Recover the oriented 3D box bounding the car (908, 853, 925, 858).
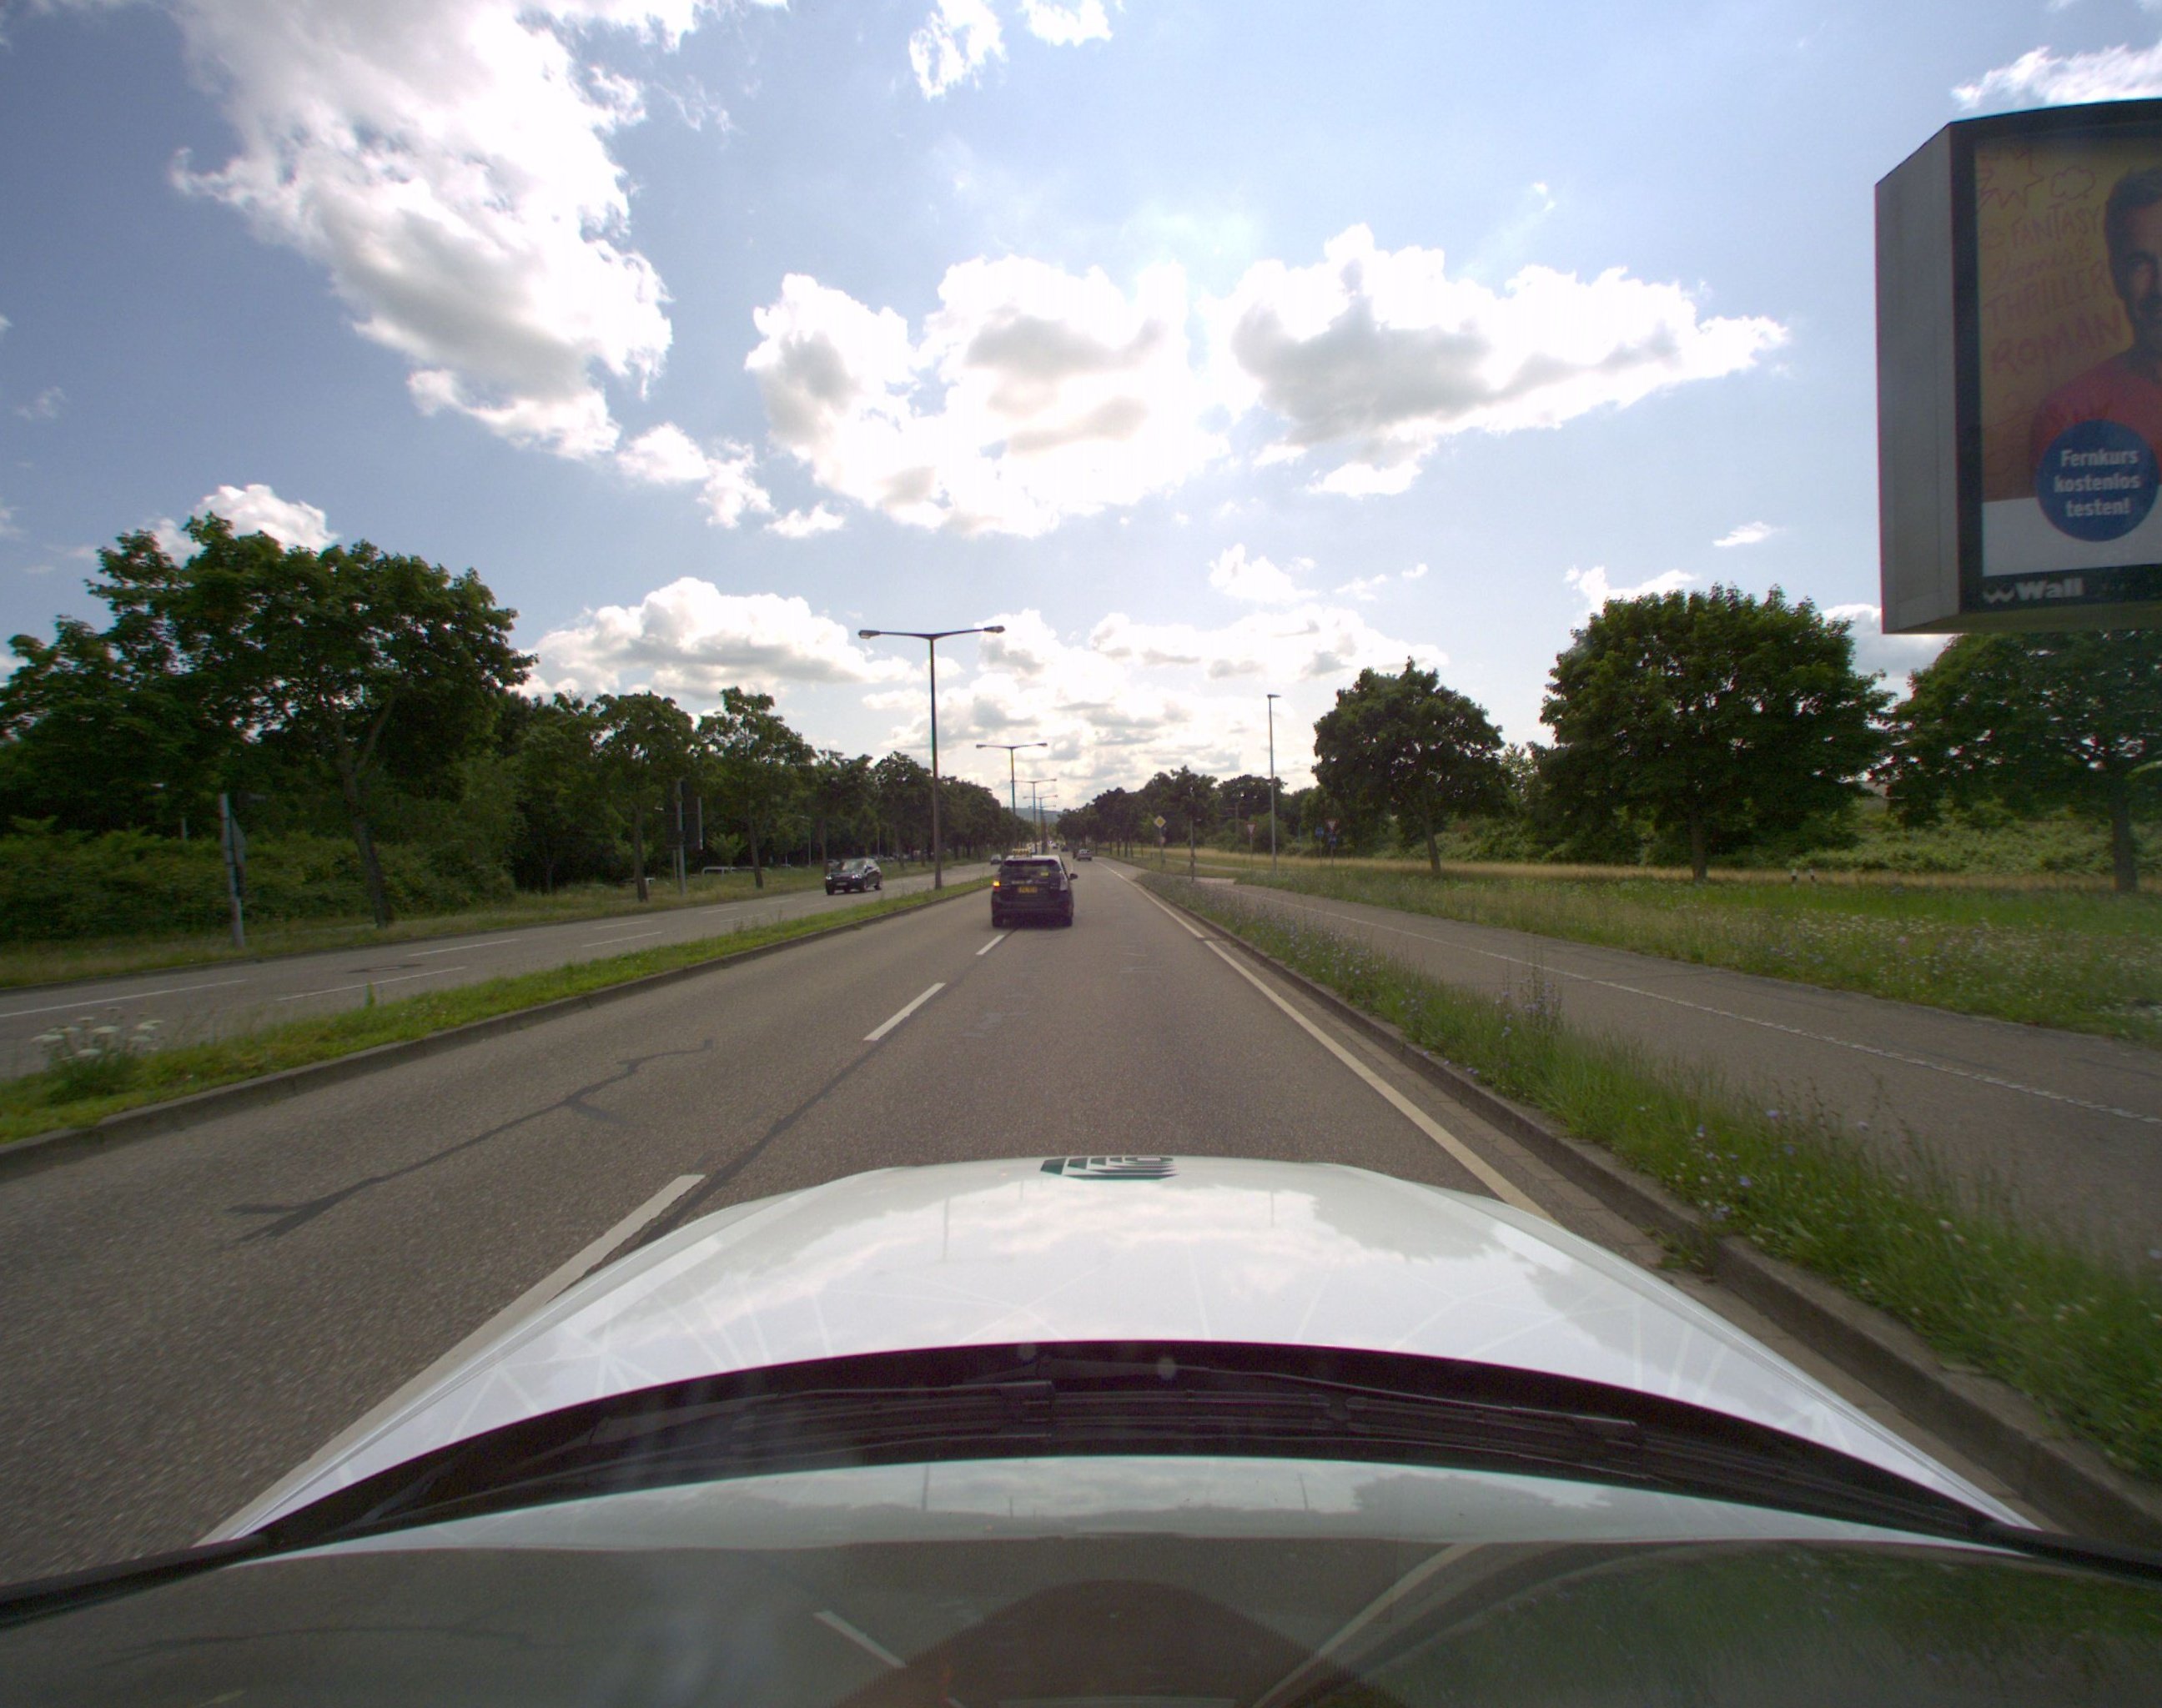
[{"bbox_3d":[-41.681,0.369,206.093,3.770,1.387,1.787,0,1,2],"label":"car"}]

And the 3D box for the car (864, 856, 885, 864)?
[{"bbox_3d":[-40.470,1.179,159.646,3.770,1.387,1.787,0,1,2],"label":"car"}]

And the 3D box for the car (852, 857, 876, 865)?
[{"bbox_3d":[-39.973,1.365,149.908,3.770,1.387,1.787,0,1,2],"label":"car"}]

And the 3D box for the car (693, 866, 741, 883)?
[{"bbox_3d":[-37.493,2.149,83.970,3.978,1.625,1.998,0,1,-4],"label":"car"}]

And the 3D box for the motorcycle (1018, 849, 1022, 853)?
[{"bbox_3d":[-13.611,-0.617,182.682,0.749,0.772,2.671,0,1,-1],"label":"motorcycle"}]

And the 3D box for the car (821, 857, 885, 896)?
[{"bbox_3d":[-11.662,1.117,42.049,1.871,1.790,4.727,-4,0,0],"label":"car"}]

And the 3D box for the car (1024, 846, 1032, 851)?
[{"bbox_3d":[-16.364,-1.703,251.783,1.872,1.508,3.800,0,1,2],"label":"car"}]

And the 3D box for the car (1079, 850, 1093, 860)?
[{"bbox_3d":[0.720,0.121,121.500,1.989,1.508,3.996,0,1,-3],"label":"car"}]

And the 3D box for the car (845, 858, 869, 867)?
[{"bbox_3d":[-39.689,1.560,144.293,3.770,1.568,1.787,0,1,2],"label":"car"}]

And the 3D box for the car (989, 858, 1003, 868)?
[{"bbox_3d":[-11.954,1.257,114.818,1.701,1.427,3.662,-2,0,-10],"label":"car"}]

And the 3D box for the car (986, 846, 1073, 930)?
[{"bbox_3d":[-1.092,0.685,18.831,1.774,1.683,3.999,0,1,-1],"label":"car"}]

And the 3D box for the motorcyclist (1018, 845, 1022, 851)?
[{"bbox_3d":[-13.639,-1.310,182.589,0.824,1.414,1.328,0,1,-1],"label":"motorcyclist"}]

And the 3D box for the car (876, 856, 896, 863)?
[{"bbox_3d":[-40.386,1.146,168.595,3.770,1.387,1.787,0,1,2],"label":"car"}]

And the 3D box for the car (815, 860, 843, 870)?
[{"bbox_3d":[-39.180,1.705,126.452,3.775,1.428,1.784,0,1,-2],"label":"car"}]

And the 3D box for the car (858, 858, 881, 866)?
[{"bbox_3d":[-39.899,1.442,153.724,3.770,1.387,1.787,0,1,2],"label":"car"}]

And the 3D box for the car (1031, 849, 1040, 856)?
[{"bbox_3d":[-10.187,-0.444,182.868,1.805,1.398,4.732,-2,1,-1],"label":"car"}]

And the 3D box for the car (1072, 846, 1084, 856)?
[{"bbox_3d":[-0.538,-0.495,135.441,1.987,1.661,3.999,0,1,-1],"label":"car"}]

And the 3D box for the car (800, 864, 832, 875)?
[{"bbox_3d":[-36.154,2.125,111.171,3.773,1.508,1.785,0,1,0],"label":"car"}]
